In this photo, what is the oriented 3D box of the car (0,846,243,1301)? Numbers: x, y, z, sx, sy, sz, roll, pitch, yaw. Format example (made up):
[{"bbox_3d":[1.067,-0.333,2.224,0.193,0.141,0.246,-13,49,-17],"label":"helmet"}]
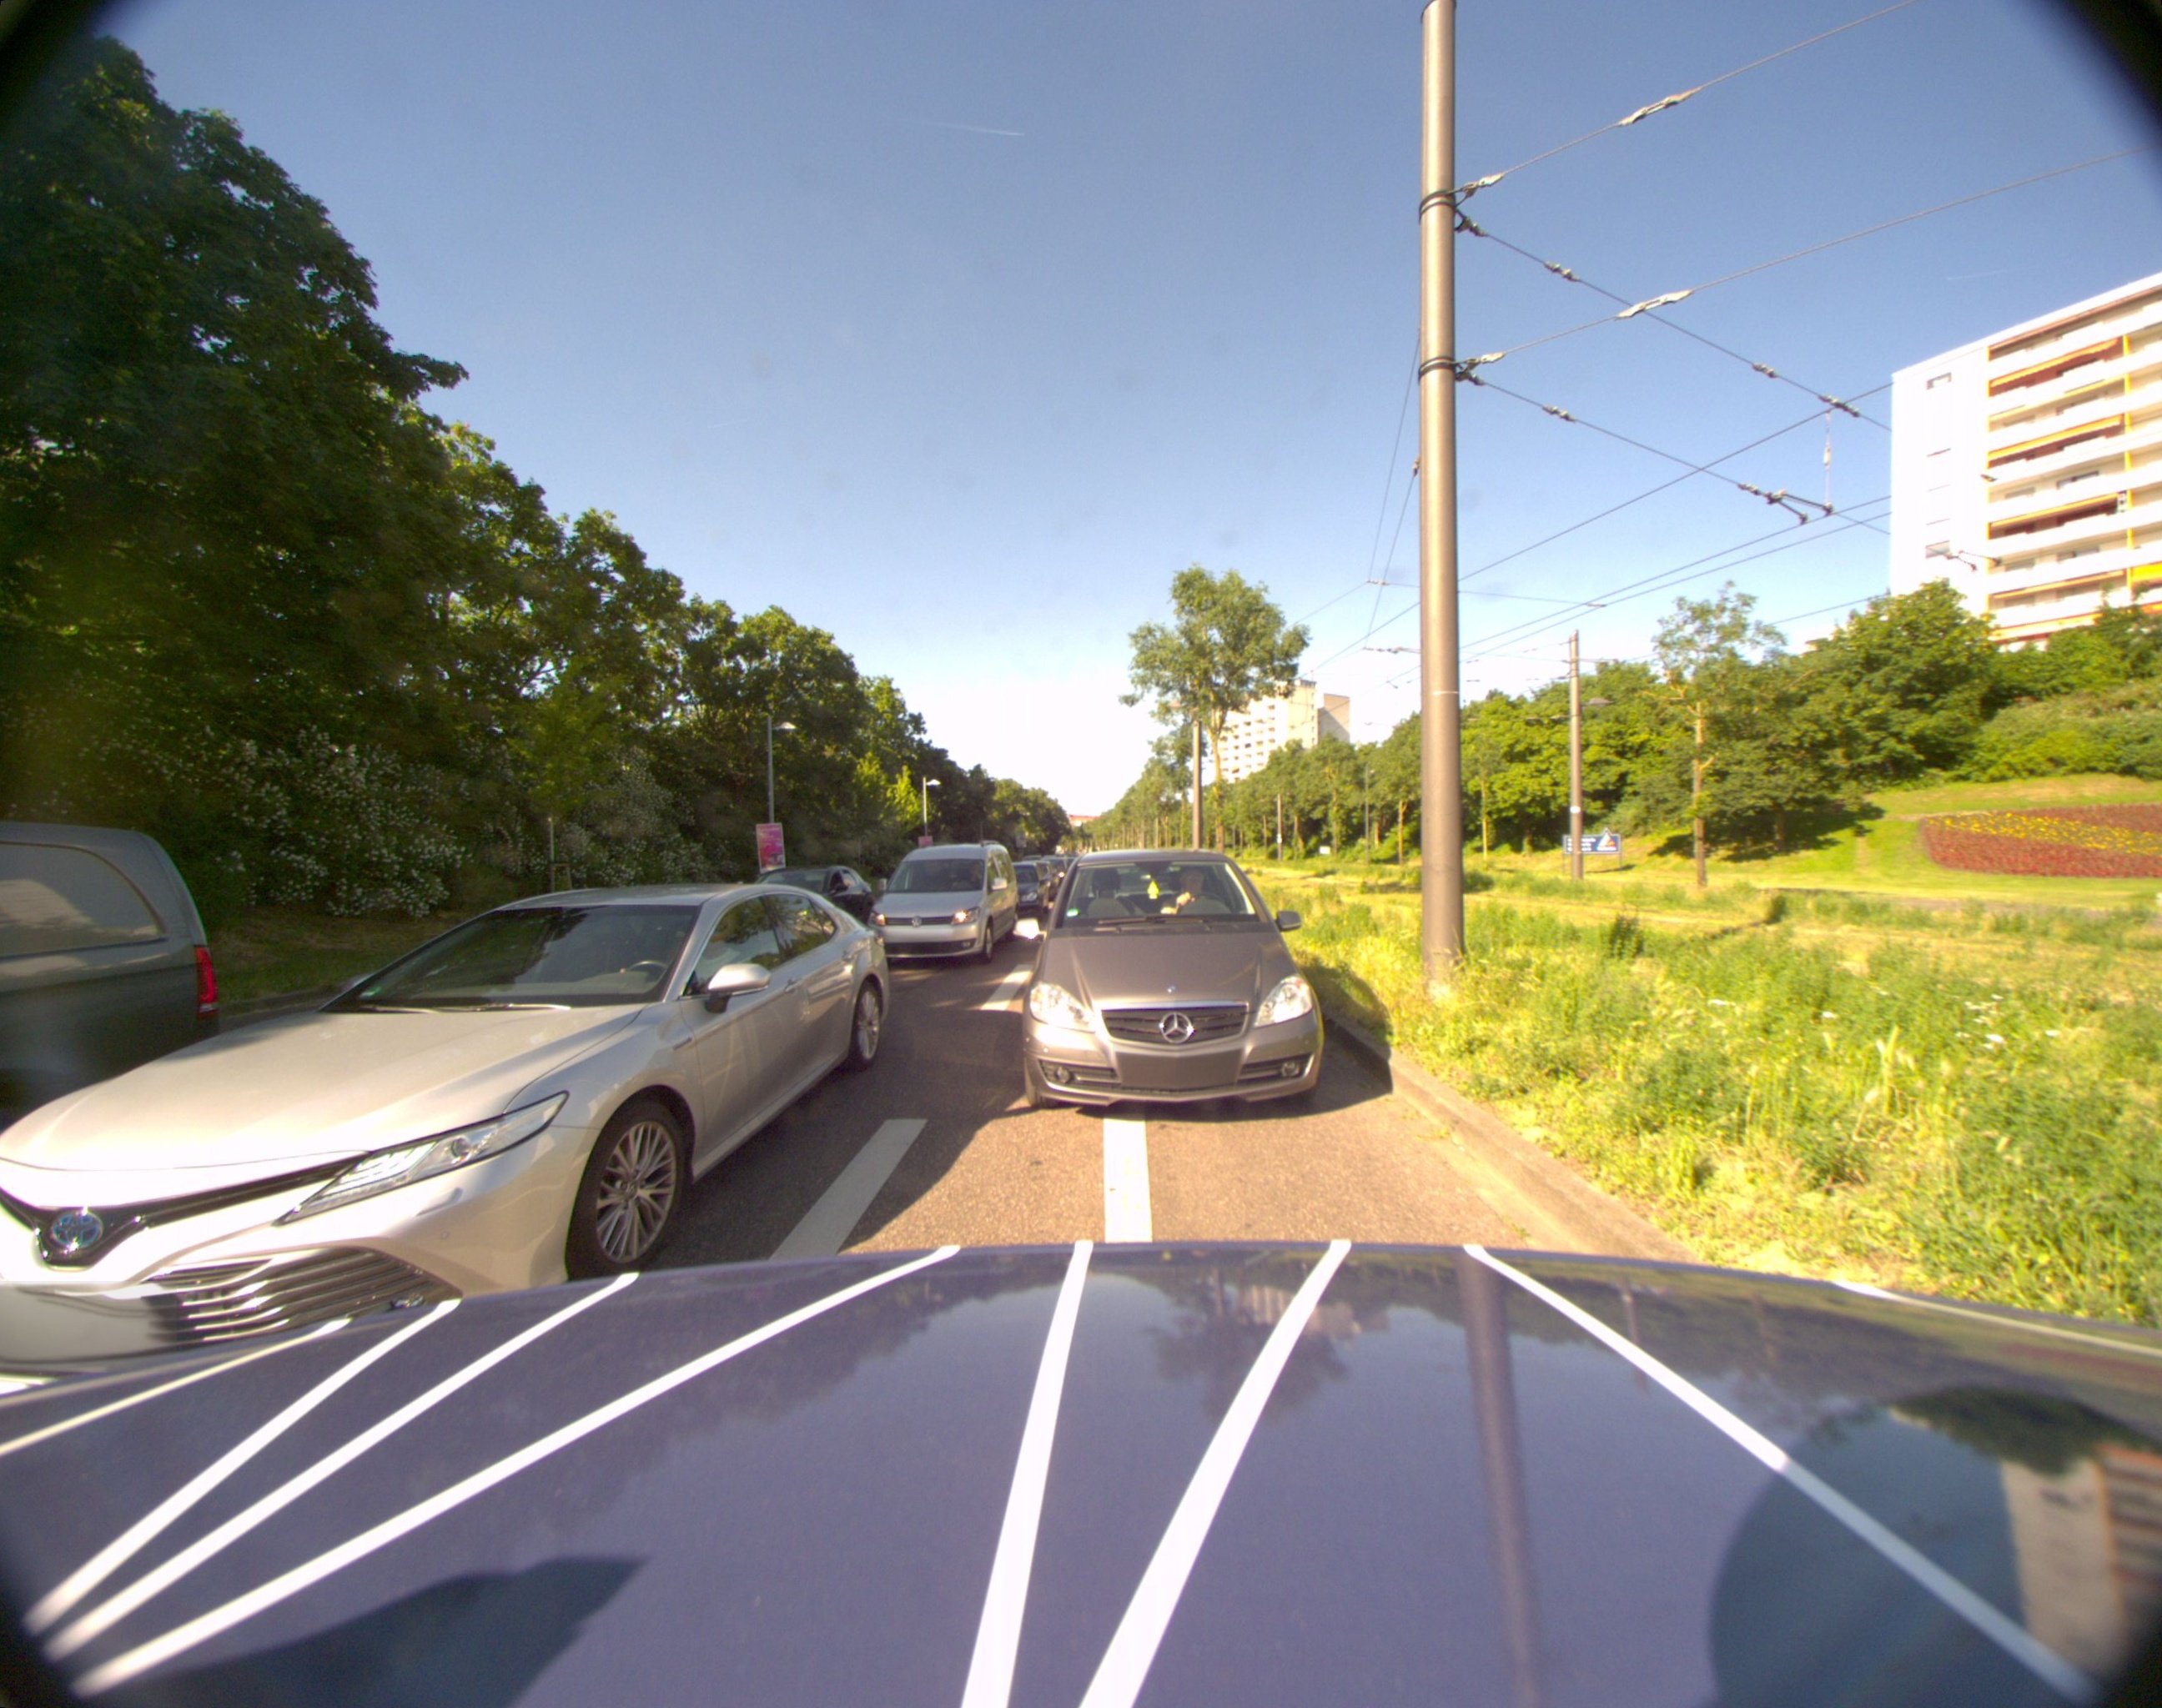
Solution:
[{"bbox_3d":[-5.364,0.903,1.404,1.808,1.841,5.104,0,0,3],"label":"car"}]

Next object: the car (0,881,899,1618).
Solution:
[{"bbox_3d":[-2.542,1.012,4.079,1.809,1.484,4.682,-2,0,2],"label":"car"}]

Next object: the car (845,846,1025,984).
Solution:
[{"bbox_3d":[-2.155,0.811,12.583,1.808,1.811,4.587,-2,1,3],"label":"car"}]

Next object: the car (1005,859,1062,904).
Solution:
[{"bbox_3d":[-1.631,0.947,27.348,1.723,1.411,4.050,-1,0,1],"label":"car"}]

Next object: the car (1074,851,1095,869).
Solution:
[{"bbox_3d":[0.352,0.495,67.031,1.685,1.437,3.727,-2,1,2],"label":"car"}]

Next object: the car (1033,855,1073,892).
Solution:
[{"bbox_3d":[-1.260,0.856,34.969,1.621,1.485,3.452,-2,1,0],"label":"car"}]

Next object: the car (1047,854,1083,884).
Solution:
[{"bbox_3d":[-0.795,0.783,40.792,1.713,1.430,4.171,-2,0,1],"label":"car"}]

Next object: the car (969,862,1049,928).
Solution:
[{"bbox_3d":[-1.746,0.975,19.559,1.717,1.445,4.197,-1,0,-1],"label":"car"}]

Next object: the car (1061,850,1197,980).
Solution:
[{"bbox_3d":[0.669,0.812,12.166,1.749,1.652,3.999,-2,1,1],"label":"car"}]

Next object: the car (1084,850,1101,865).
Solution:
[{"bbox_3d":[1.220,0.351,78.261,1.685,1.437,3.727,-2,1,2],"label":"car"}]

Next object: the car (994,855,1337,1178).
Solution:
[{"bbox_3d":[0.476,0.862,6.010,1.749,1.630,4.000,-2,0,1],"label":"car"}]

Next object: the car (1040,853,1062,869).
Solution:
[{"bbox_3d":[-2.854,0.655,73.262,1.749,1.427,4.386,-2,1,2],"label":"car"}]

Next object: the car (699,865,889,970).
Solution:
[{"bbox_3d":[-5.098,1.033,14.175,1.772,1.499,4.225,-2,1,2],"label":"car"}]
